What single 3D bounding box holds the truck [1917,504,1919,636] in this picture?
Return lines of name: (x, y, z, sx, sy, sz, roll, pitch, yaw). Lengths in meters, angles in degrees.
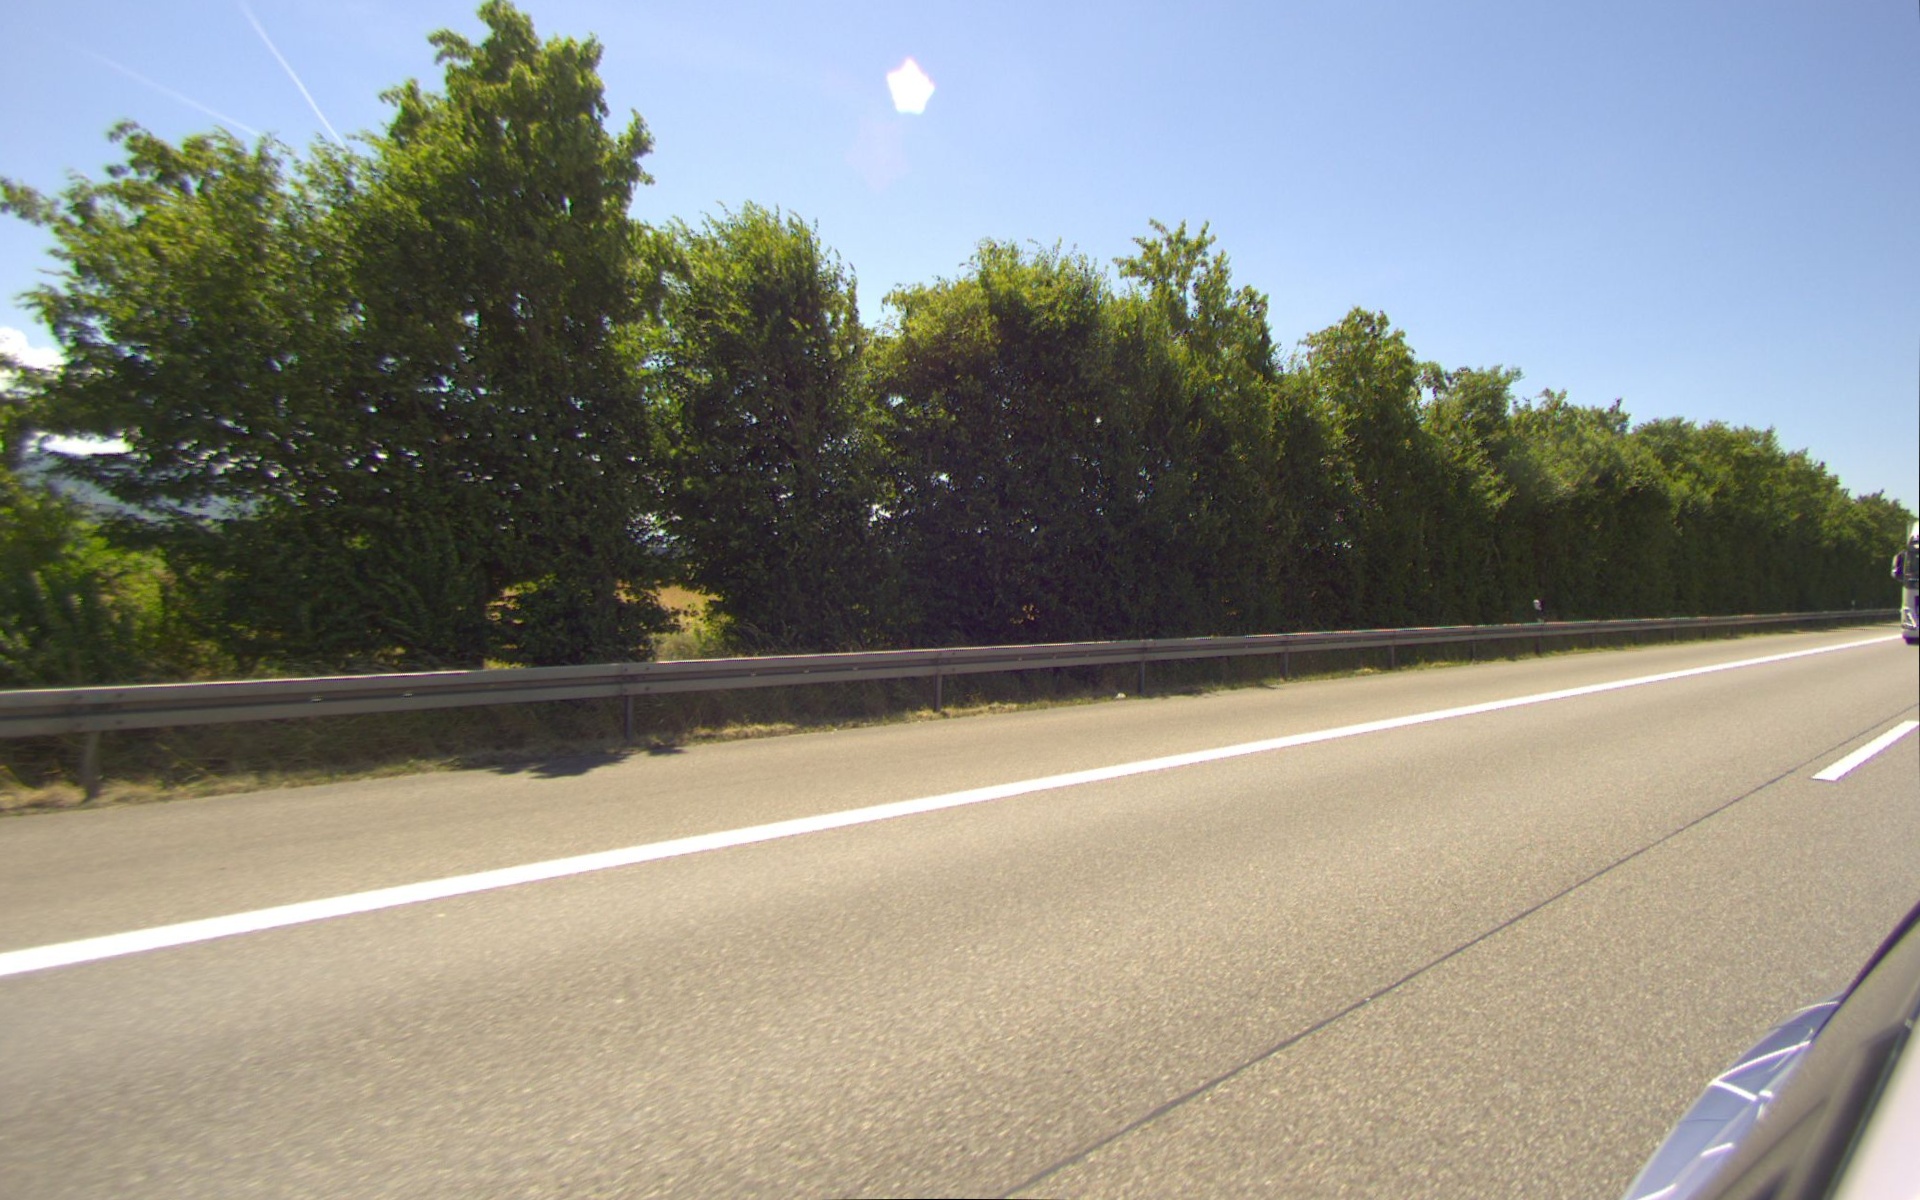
truck: (33.025, -0.952, 32.658, 6.209, 4.113, 2.474, 0, 0, -41)
